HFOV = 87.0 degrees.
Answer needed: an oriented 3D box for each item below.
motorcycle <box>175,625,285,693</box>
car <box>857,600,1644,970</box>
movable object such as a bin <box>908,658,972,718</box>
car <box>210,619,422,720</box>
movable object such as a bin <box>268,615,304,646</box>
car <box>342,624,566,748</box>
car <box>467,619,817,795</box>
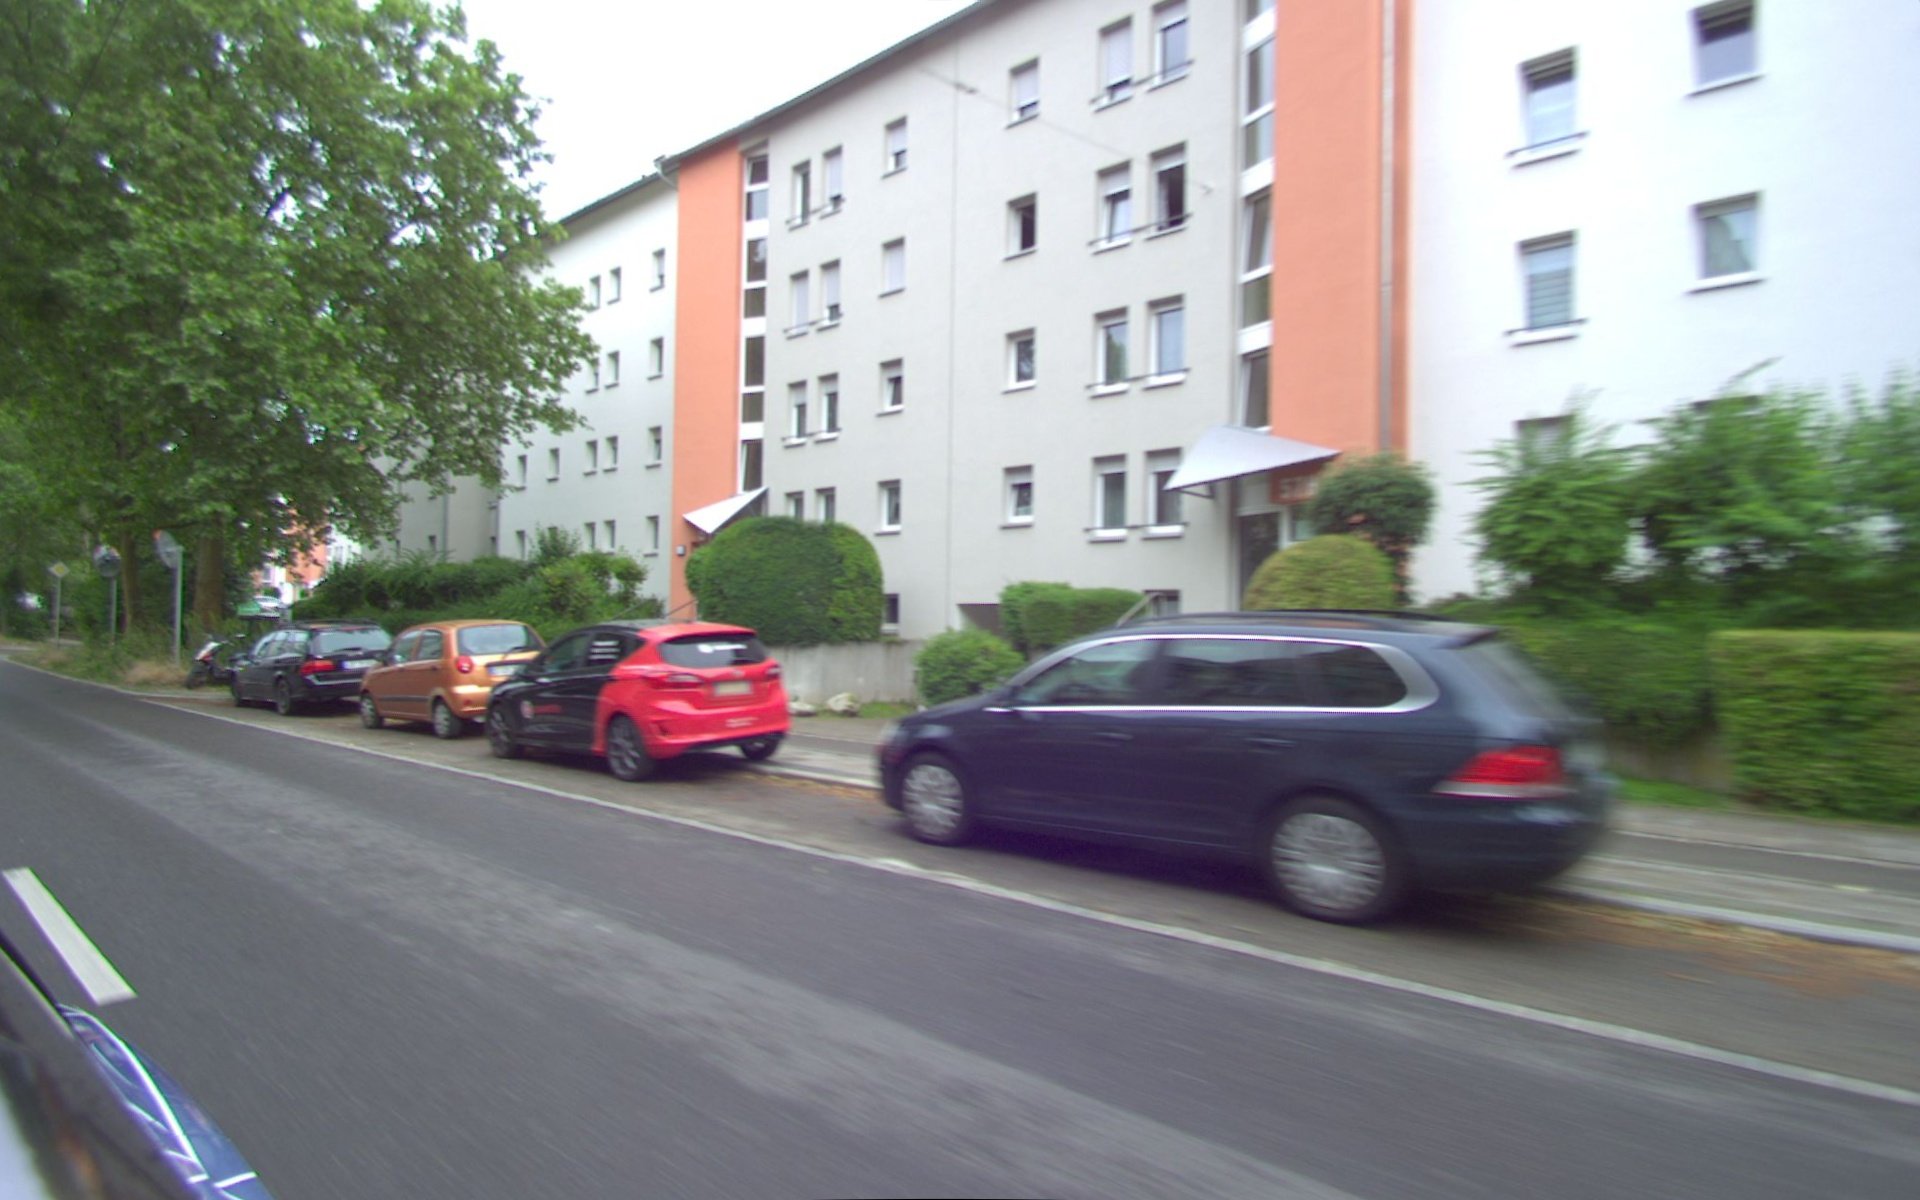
[{"bbox_3d":[-15.000,1.201,20.829,0.722,1.350,1.695,-1,-3,41],"label":"motorcycle"},{"bbox_3d":[1.469,0.783,6.084,4.230,1.478,1.699,-1,-1,40],"label":"car"},{"bbox_3d":[-0.382,1.688,19.640,0.927,1.084,0.854,-1,-1,34],"label":"movable object such as a bin"},{"bbox_3d":[-11.208,1.100,17.466,4.799,1.521,1.700,-1,-1,39],"label":"car"},{"bbox_3d":[-34.857,1.566,52.339,1.300,1.474,1.150,-1,3,40],"label":"movable object such as a bin"},{"bbox_3d":[-7.019,1.080,13.931,3.394,1.478,1.540,-1,-1,40],"label":"car"},{"bbox_3d":[-3.376,0.946,10.428,3.752,1.478,1.699,-1,-1,40],"label":"car"}]
